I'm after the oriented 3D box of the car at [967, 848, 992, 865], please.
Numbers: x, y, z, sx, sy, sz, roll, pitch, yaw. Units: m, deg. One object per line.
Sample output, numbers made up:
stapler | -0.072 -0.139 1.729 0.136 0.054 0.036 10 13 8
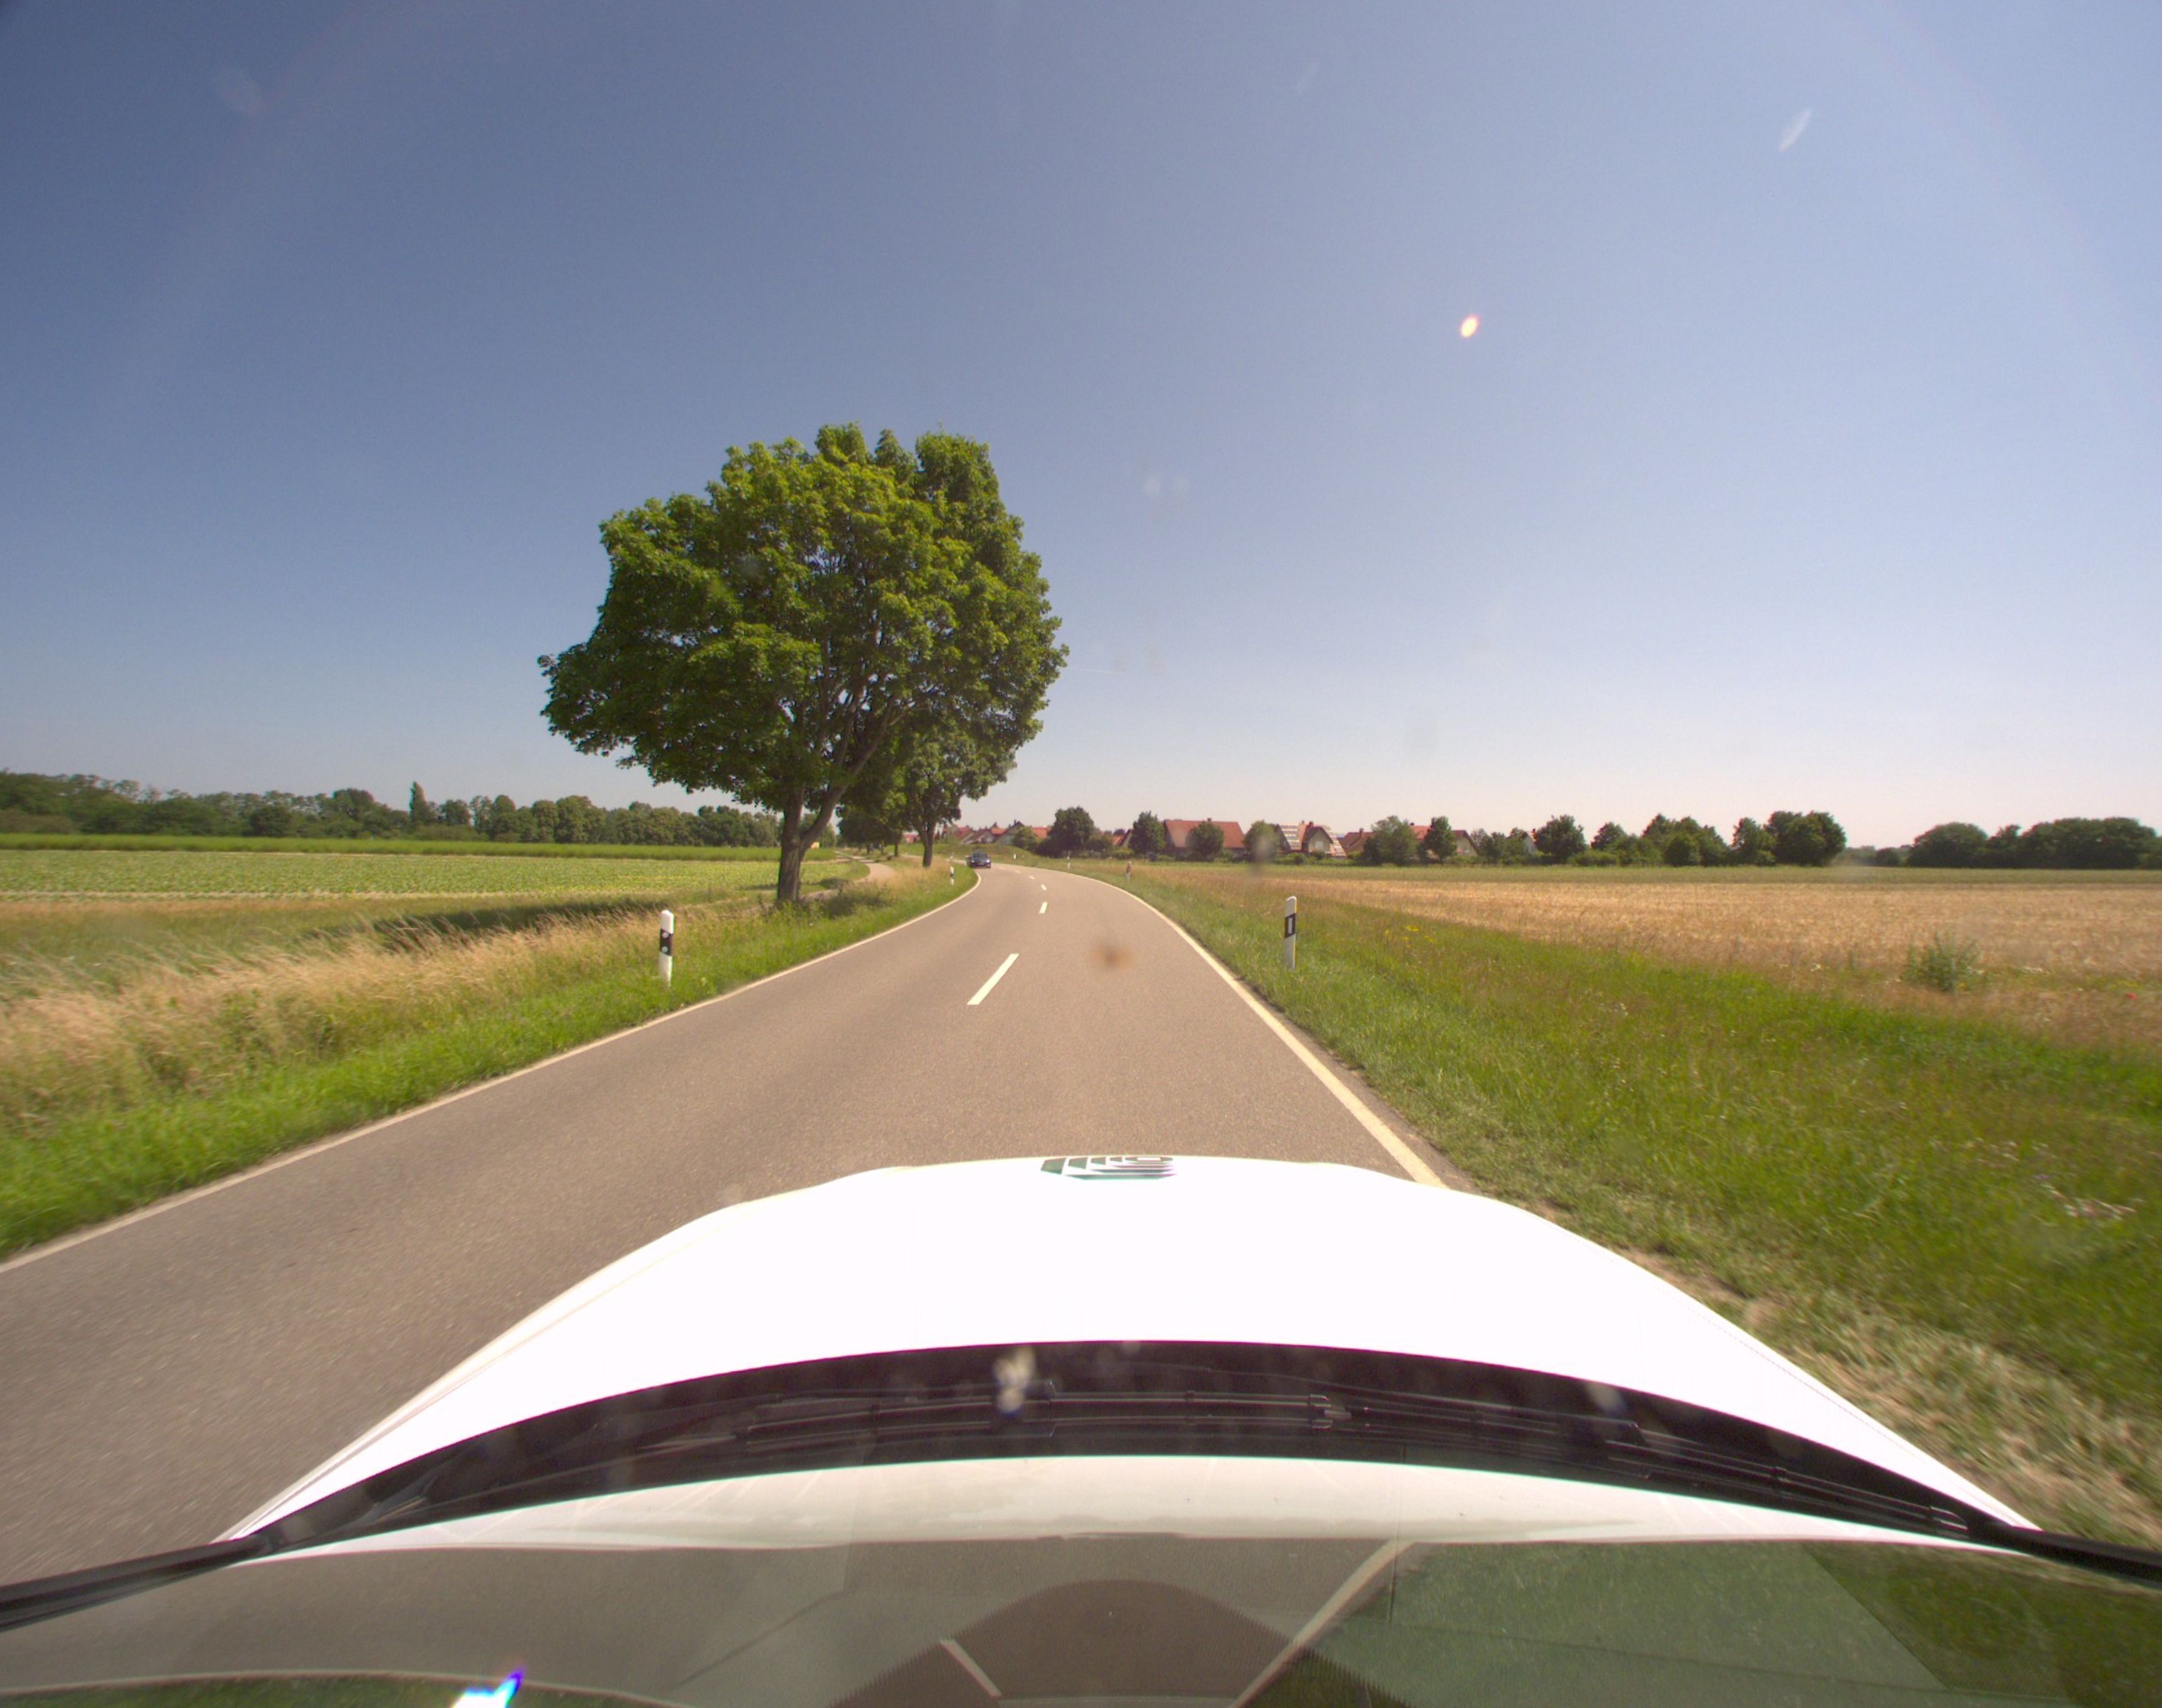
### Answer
car | -8.825 0.217 70.557 1.645 1.429 4.162 -2 0 -13
